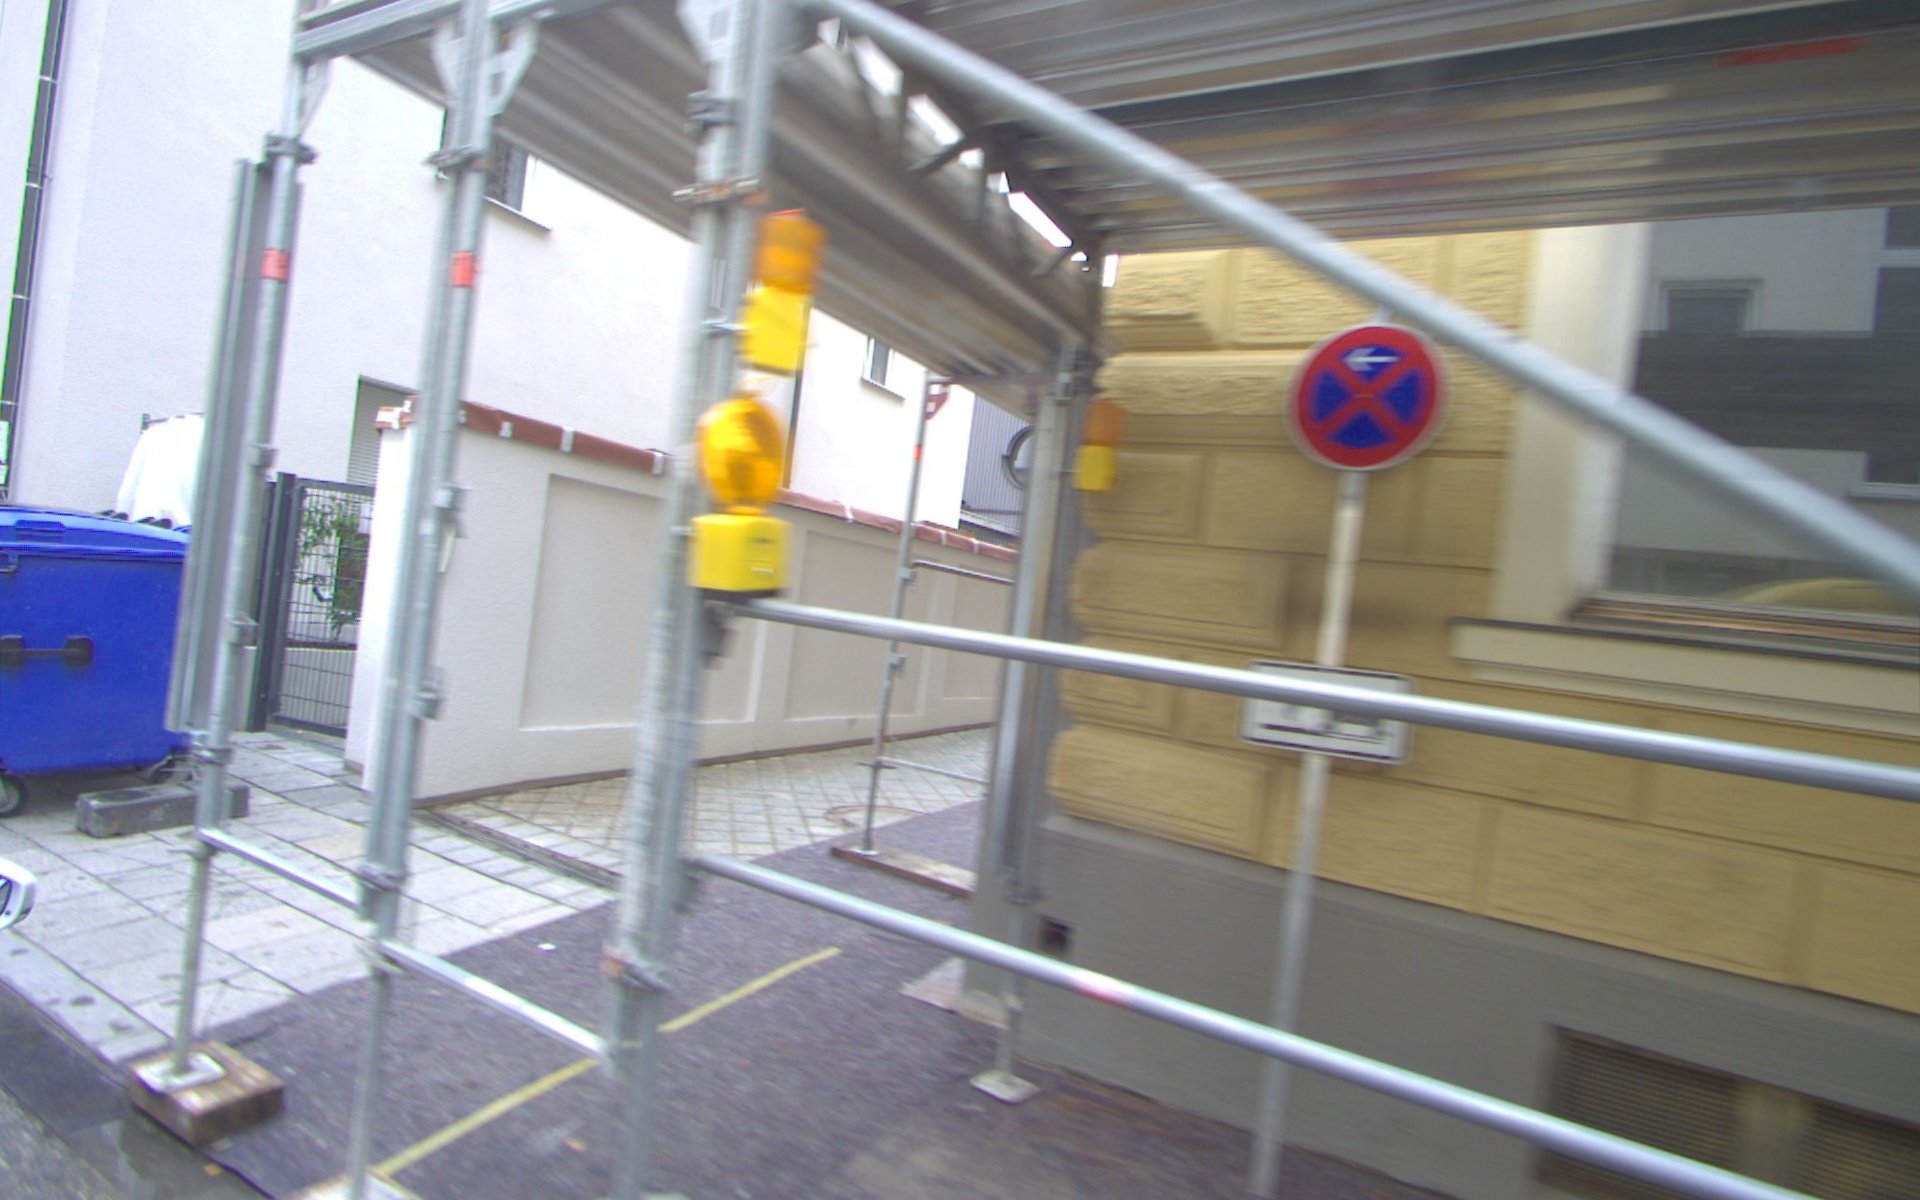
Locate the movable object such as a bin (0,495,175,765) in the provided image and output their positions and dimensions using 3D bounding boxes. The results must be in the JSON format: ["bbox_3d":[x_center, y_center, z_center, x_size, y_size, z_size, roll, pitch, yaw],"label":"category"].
[{"bbox_3d":[-5.268,0.118,5.615,1.153,1.364,1.124,8,4,38],"label":"movable object such as a bin"}]

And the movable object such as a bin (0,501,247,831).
[{"bbox_3d":[-4.301,0.251,4.869,1.299,1.364,1.083,8,4,42],"label":"movable object such as a bin"}]

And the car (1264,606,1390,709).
[{"bbox_3d":[7.771,1.217,21.095,1.604,1.791,3.992,7,0,31],"label":"car"}]

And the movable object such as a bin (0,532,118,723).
[{"bbox_3d":[-6.075,0.146,6.196,0.777,1.110,1.209,8,4,37],"label":"movable object such as a bin"}]
